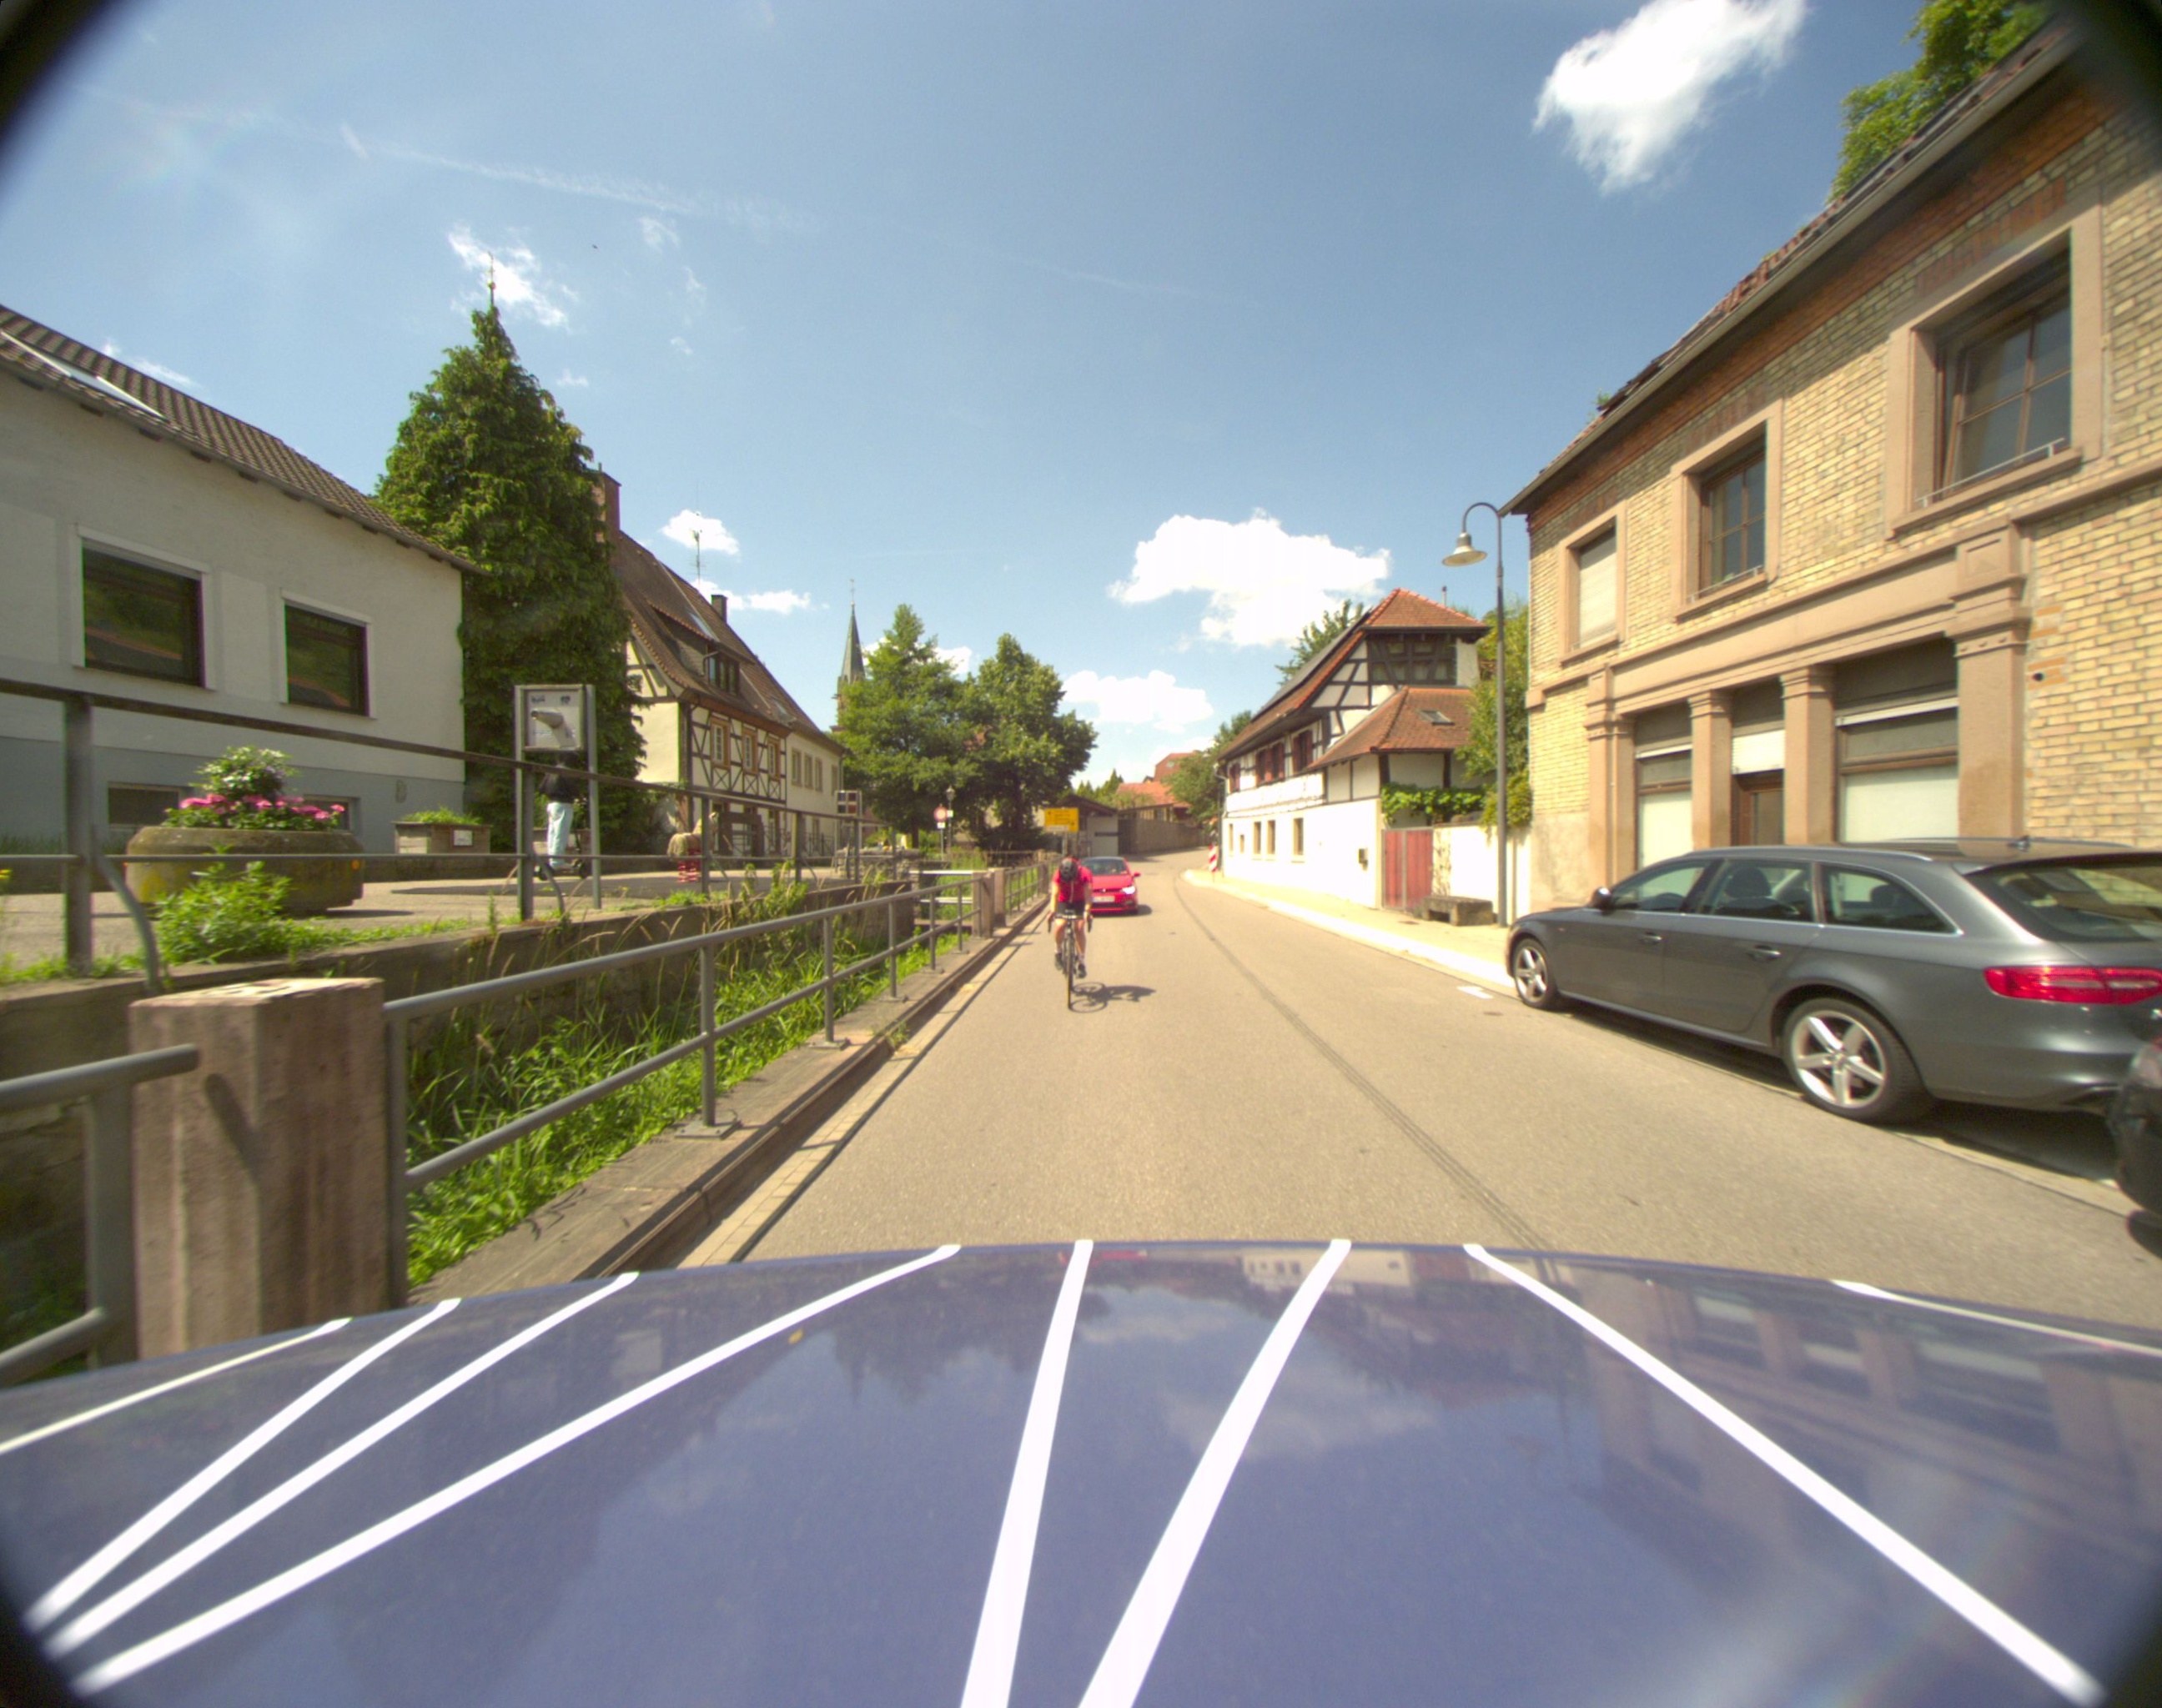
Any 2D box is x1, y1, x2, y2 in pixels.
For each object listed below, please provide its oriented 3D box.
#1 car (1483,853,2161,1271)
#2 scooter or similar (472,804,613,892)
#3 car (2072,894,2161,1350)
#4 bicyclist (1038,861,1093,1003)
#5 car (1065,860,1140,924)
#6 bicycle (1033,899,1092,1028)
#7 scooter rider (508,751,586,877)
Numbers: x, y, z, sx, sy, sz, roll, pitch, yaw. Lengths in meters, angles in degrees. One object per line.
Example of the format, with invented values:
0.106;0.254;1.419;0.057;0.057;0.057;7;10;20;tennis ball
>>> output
4.861;0.790;5.126;1.961;1.457;4.545;-1;1;1;car
-7.533;-0.095;10.742;0.643;1.135;1.811;1;1;3;scooter or similar
4.275;0.820;0.248;1.889;1.455;4.669;-4;0;3;car
-0.145;0.770;7.872;0.532;1.396;0.755;0;0;1;bicyclist
0.460;0.875;19.127;1.670;1.344;3.493;-3;0;-1;car
-0.155;1.061;7.947;0.531;1.070;2.054;0;0;1;bicycle
-7.522;-0.557;10.730;0.643;1.722;0.554;-1;1;3;scooter rider
